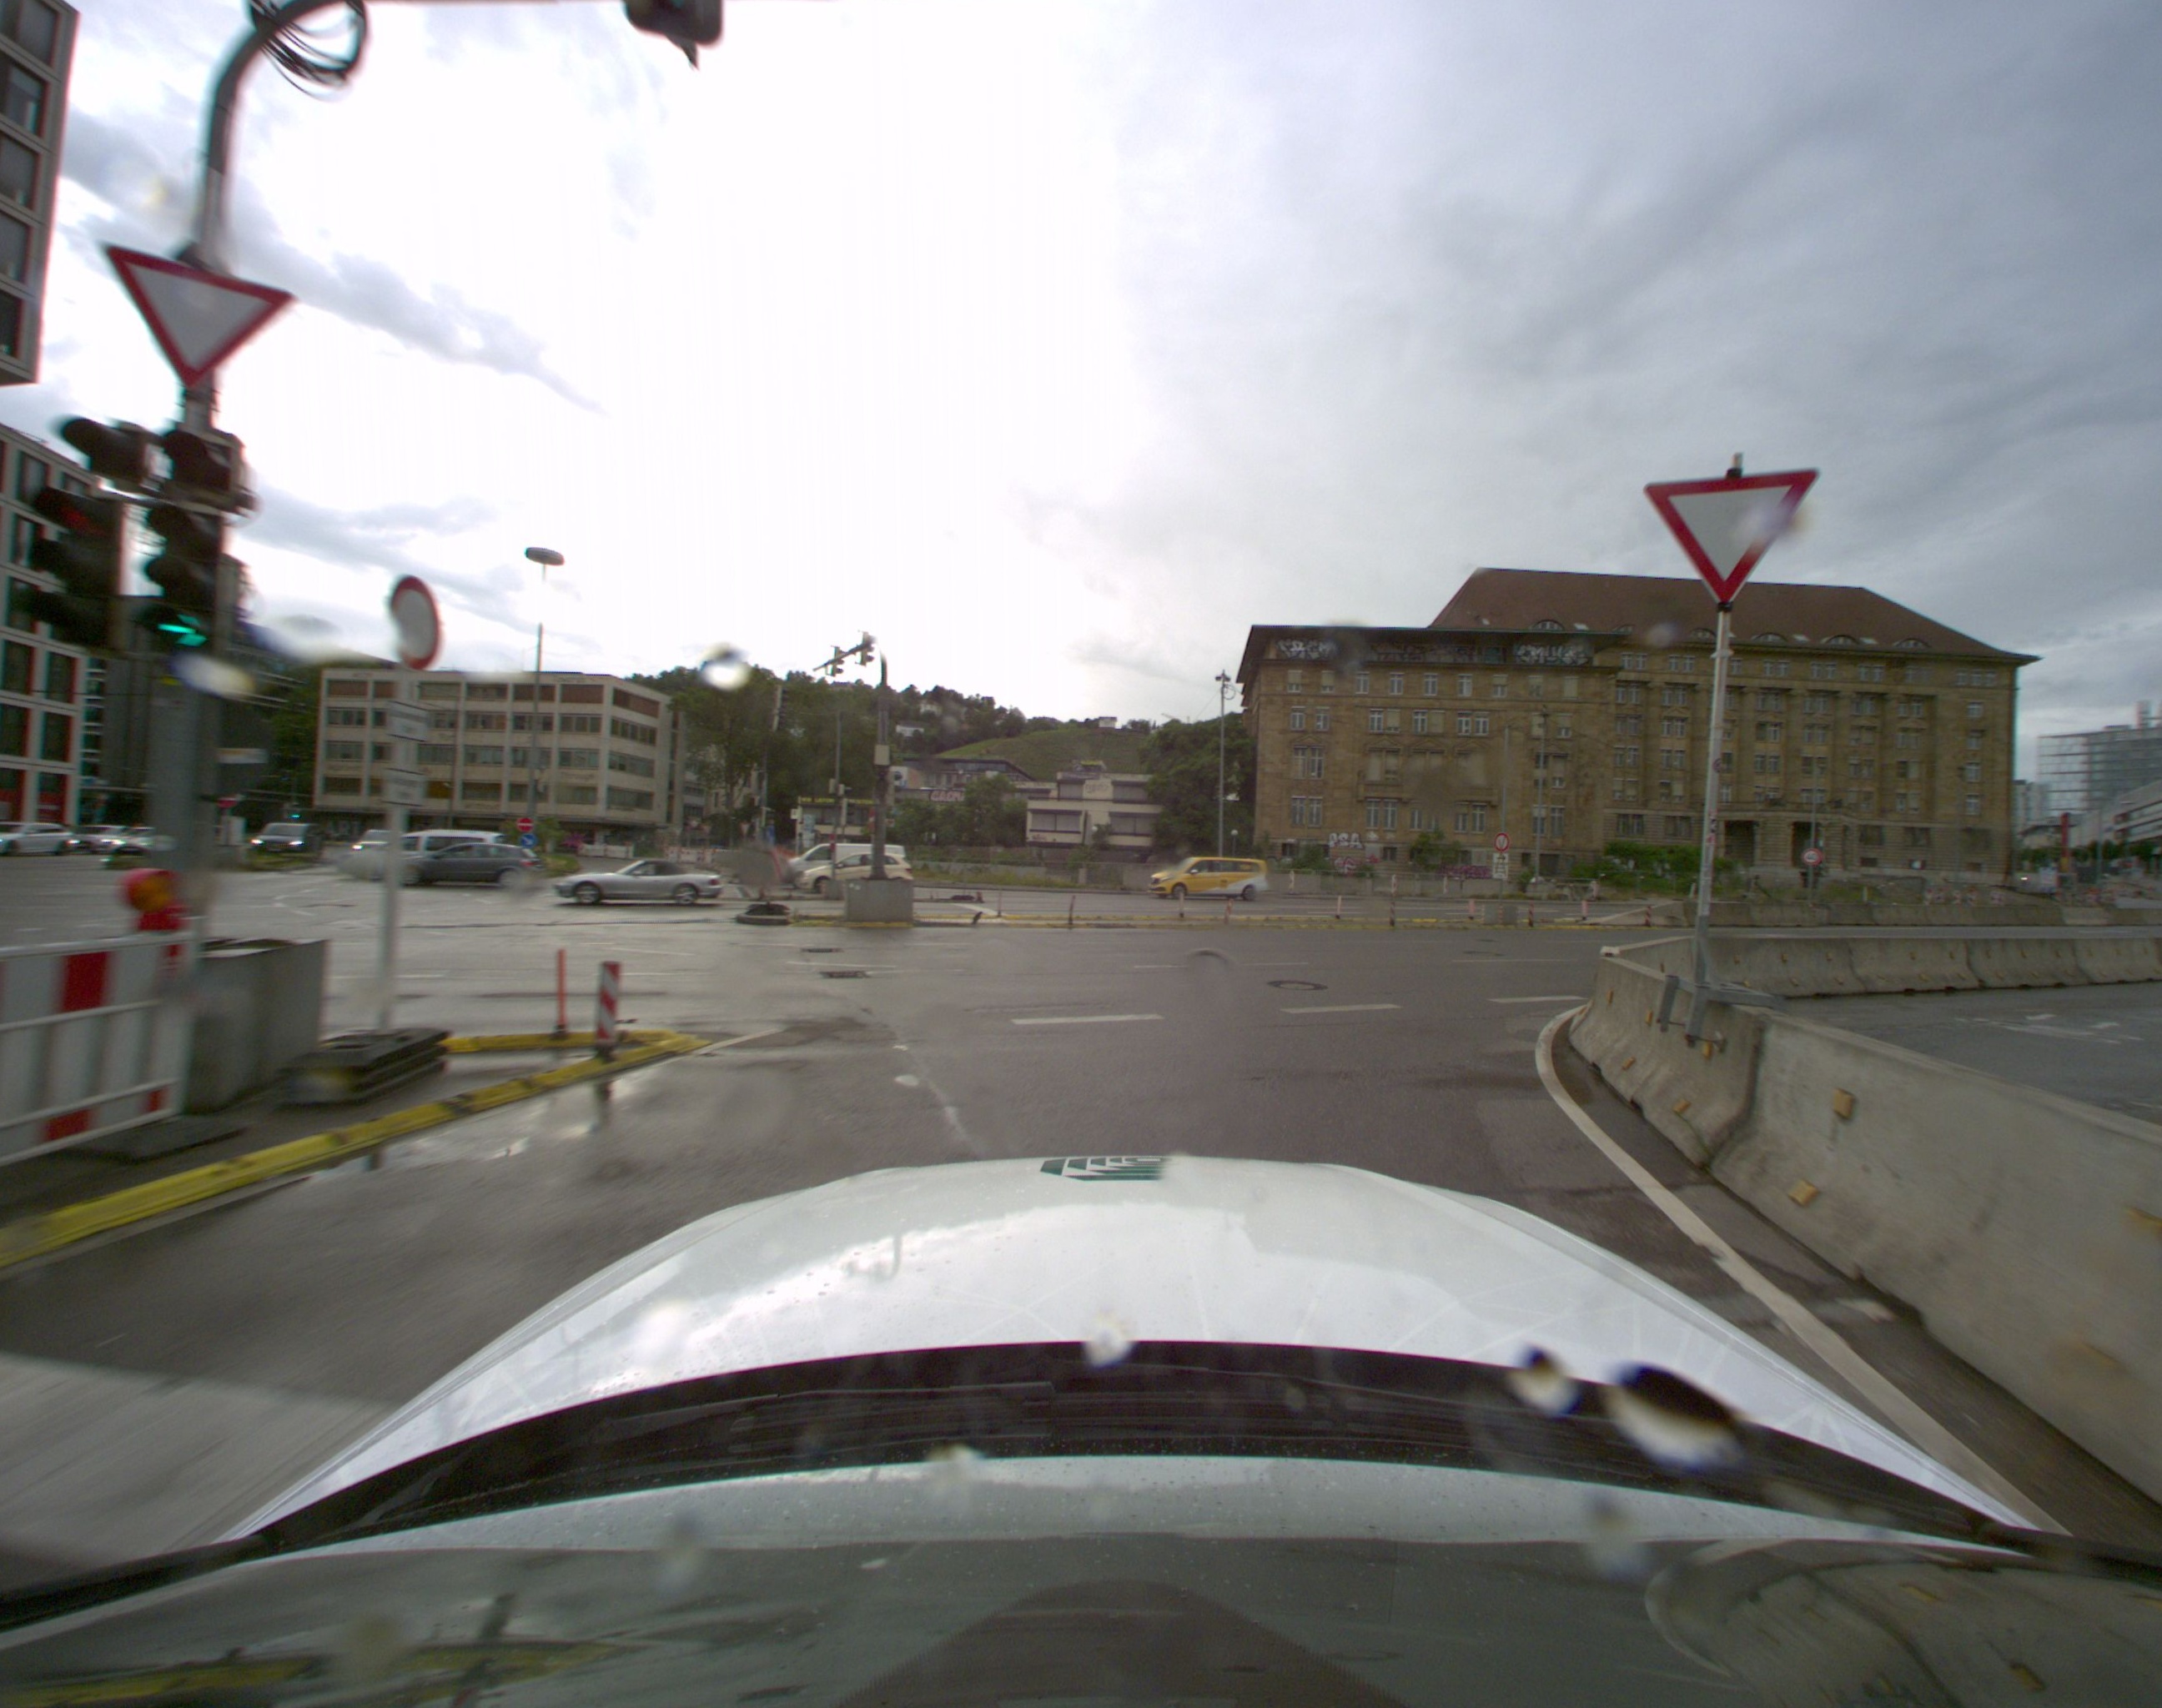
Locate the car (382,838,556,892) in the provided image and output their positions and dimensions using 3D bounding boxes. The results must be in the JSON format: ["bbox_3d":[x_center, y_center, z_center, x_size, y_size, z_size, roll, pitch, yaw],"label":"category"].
[{"bbox_3d":[-20.021,0.372,26.869,4.183,1.598,1.838,2,0,-22],"label":"car"}]

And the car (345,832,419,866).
[{"bbox_3d":[-33.128,-0.252,38.706,1.841,1.486,3.963,2,0,-29],"label":"car"}]

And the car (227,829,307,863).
[{"bbox_3d":[-40.824,-0.379,40.947,1.896,1.557,3.961,2,-1,-31],"label":"car"}]

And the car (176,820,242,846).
[{"bbox_3d":[-79.726,-1.916,74.469,3.965,2.014,2.004,3,-2,8],"label":"car"}]

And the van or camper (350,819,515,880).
[{"bbox_3d":[-23.415,-0.149,29.634,4.259,1.979,1.838,2,0,-22],"label":"van or camper"}]

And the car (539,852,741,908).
[{"bbox_3d":[-11.529,0.685,21.649,4.535,1.309,1.630,2,0,-24],"label":"car"}]

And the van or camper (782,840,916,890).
[{"bbox_3d":[-9.804,0.491,34.457,5.215,1.894,1.874,2,0,-22],"label":"van or camper"}]

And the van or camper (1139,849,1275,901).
[{"bbox_3d":[5.624,0.938,36.563,5.604,2.054,2.233,2,0,-19],"label":"van or camper"}]

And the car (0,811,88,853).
[{"bbox_3d":[-46.391,-0.947,35.191,2.230,1.753,4.779,2,0,-21],"label":"car"}]

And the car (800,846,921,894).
[{"bbox_3d":[-8.559,0.627,31.656,4.377,1.673,1.837,2,0,-18],"label":"car"}]

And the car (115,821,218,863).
[{"bbox_3d":[-43.581,-0.583,38.930,1.809,1.816,3.966,3,0,-26],"label":"car"}]
